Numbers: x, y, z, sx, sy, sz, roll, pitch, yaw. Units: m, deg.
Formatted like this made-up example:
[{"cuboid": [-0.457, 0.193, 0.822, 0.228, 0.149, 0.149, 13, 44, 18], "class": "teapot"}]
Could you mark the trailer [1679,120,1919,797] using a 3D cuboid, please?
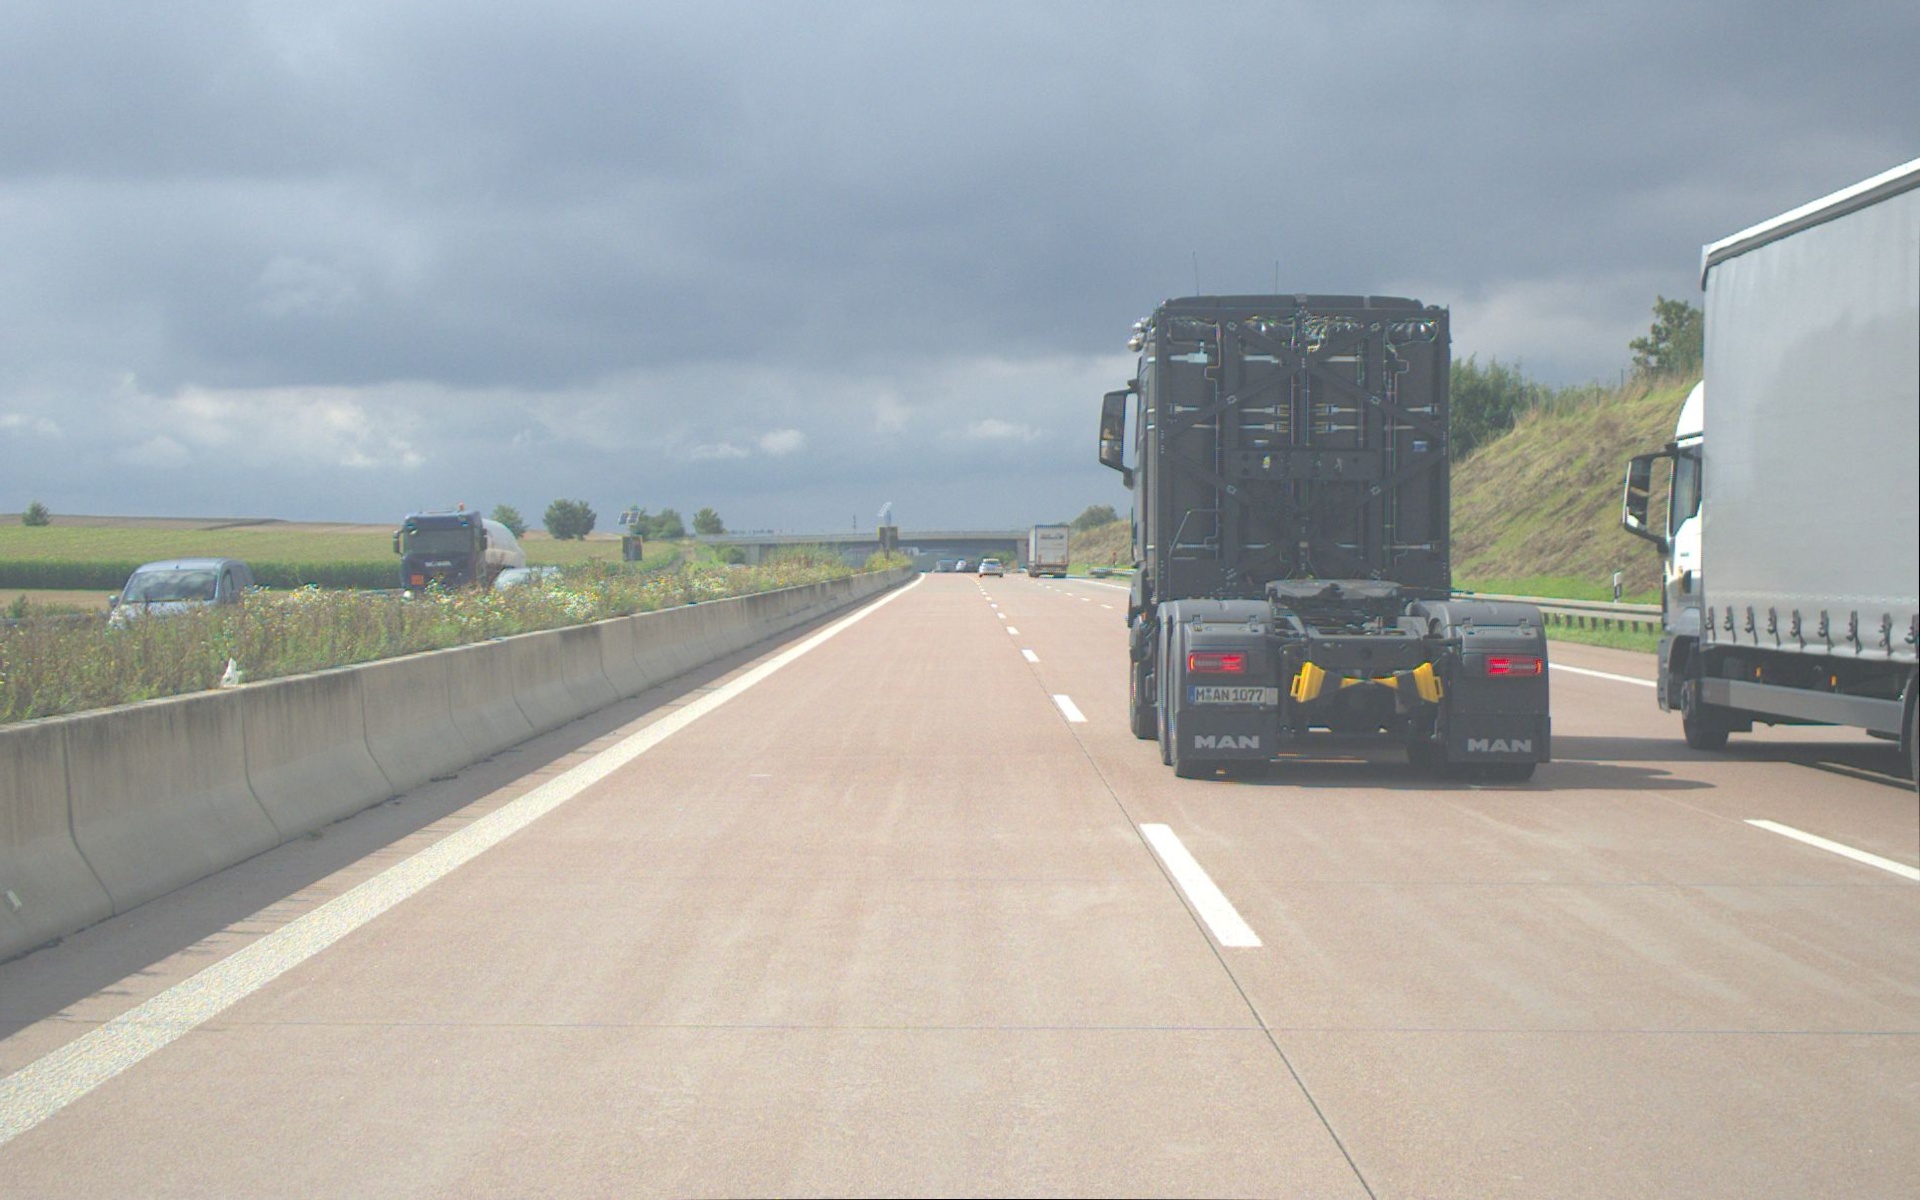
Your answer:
[{"cuboid": [6.988, -0.839, 21.760, 2.747, 3.998, 8.671, 1, 1, -2], "class": "trailer"}]

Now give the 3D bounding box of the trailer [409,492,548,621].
[{"cuboid": [-16.302, -1.511, 117.192, 2.892, 4.084, 11.037, -2, 1, 1], "class": "trailer"}]

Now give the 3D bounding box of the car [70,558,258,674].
[{"cuboid": [-12.658, 0.218, 54.909, 1.993, 1.693, 4.256, -2, 1, 0], "class": "car"}]

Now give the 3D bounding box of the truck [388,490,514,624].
[{"cuboid": [-16.381, -1.413, 111.040, 2.892, 4.084, 6.335, -2, 1, 1], "class": "truck"}]

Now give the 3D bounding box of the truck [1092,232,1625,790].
[{"cuboid": [2.716, -0.610, 26.220, 2.847, 3.537, 8.320, 1, 1, -1], "class": "truck"}]

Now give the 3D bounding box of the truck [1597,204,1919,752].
[{"cuboid": [6.843, -0.892, 26.745, 2.748, 3.878, 4.546, 1, 1, -2], "class": "truck"}]
